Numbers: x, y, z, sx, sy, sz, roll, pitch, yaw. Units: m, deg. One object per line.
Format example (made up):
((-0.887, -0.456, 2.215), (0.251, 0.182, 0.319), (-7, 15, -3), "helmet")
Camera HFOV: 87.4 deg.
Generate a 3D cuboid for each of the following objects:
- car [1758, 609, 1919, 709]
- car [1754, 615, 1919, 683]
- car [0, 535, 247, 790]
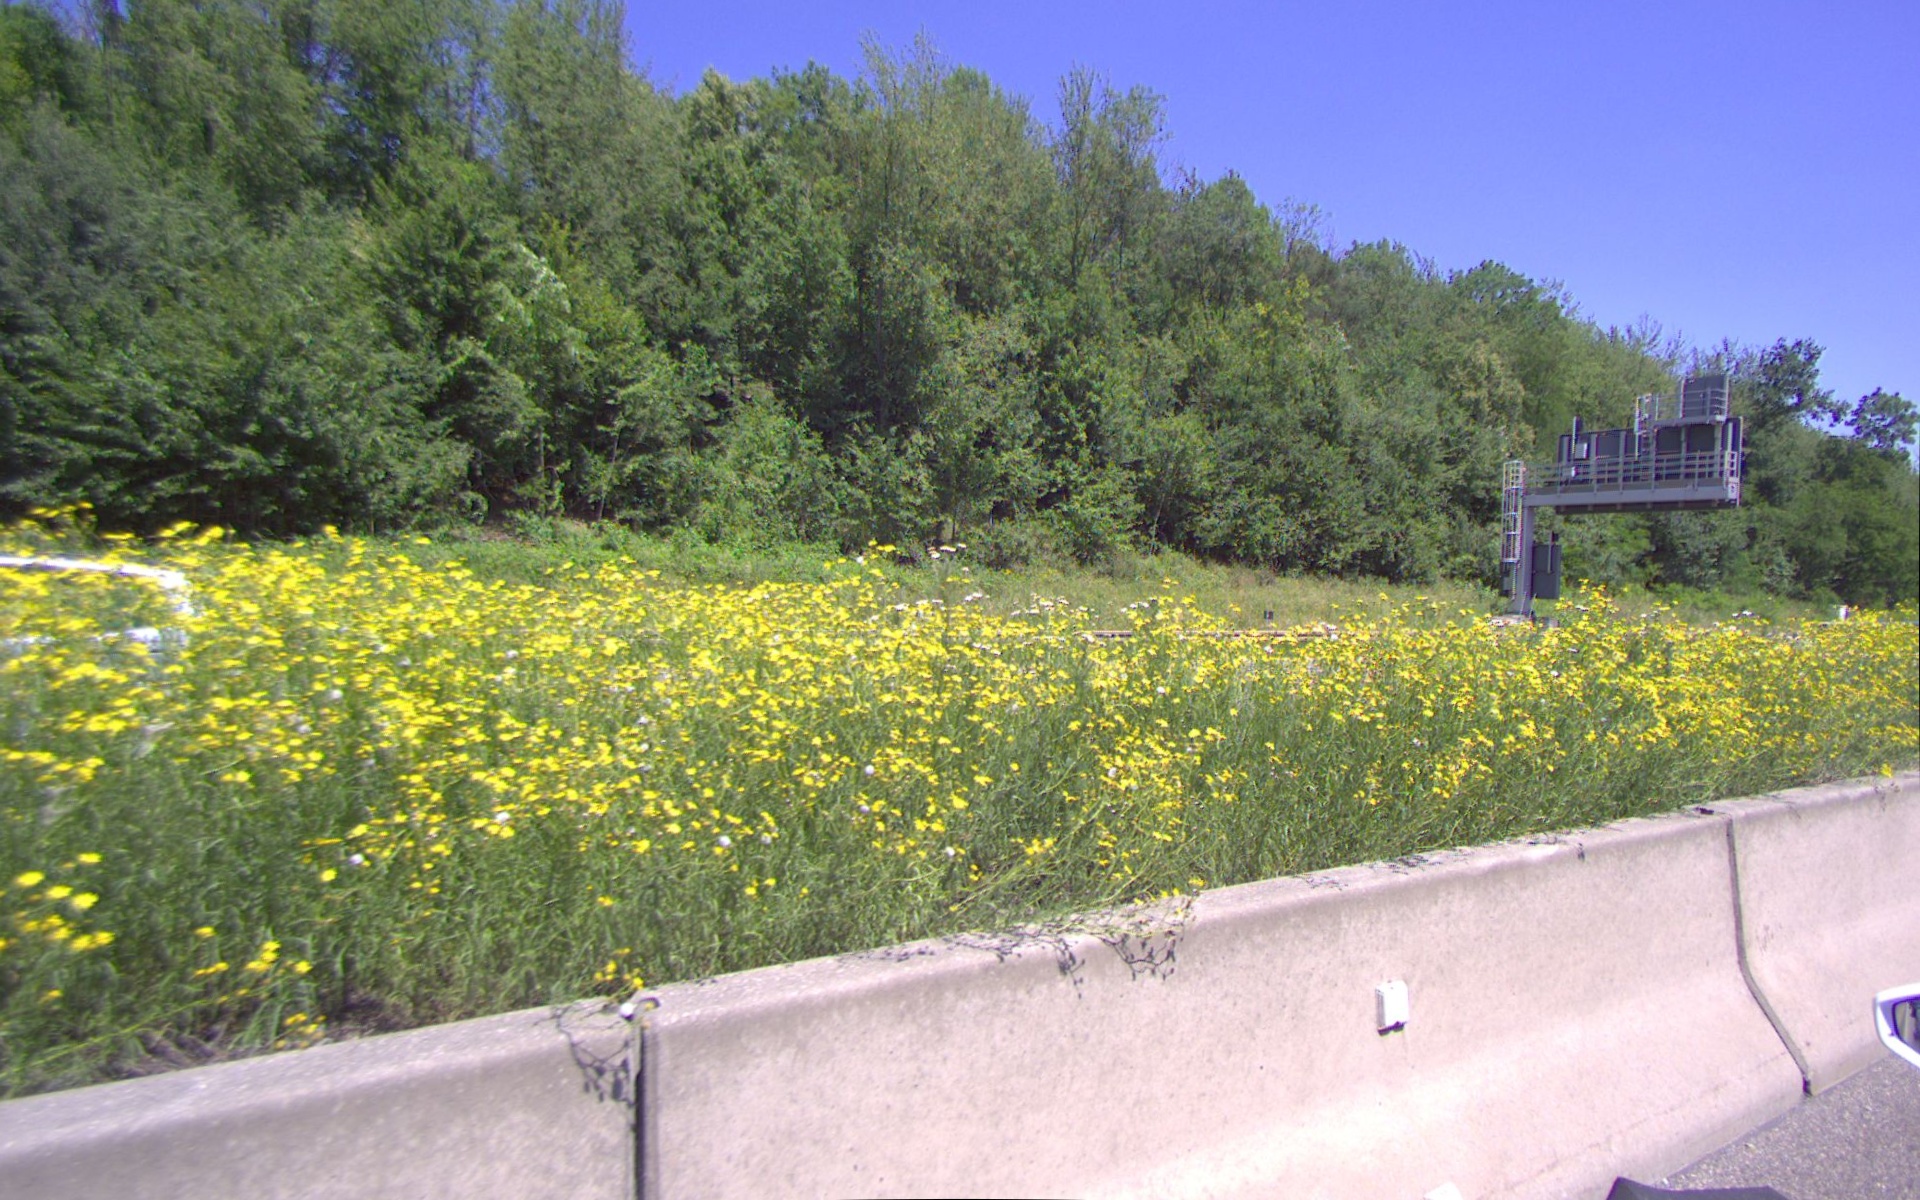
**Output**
((15.859, 0.963, 17.457), (3.953, 1.517, 1.830), (1, 0, -31), "car")
((21.827, 1.178, 24.974), (4.306, 1.542, 1.830), (1, 0, -31), "car")
((-7.756, 0.408, 7.232), (4.101, 1.757, 1.728), (1, 0, -31), "car")
